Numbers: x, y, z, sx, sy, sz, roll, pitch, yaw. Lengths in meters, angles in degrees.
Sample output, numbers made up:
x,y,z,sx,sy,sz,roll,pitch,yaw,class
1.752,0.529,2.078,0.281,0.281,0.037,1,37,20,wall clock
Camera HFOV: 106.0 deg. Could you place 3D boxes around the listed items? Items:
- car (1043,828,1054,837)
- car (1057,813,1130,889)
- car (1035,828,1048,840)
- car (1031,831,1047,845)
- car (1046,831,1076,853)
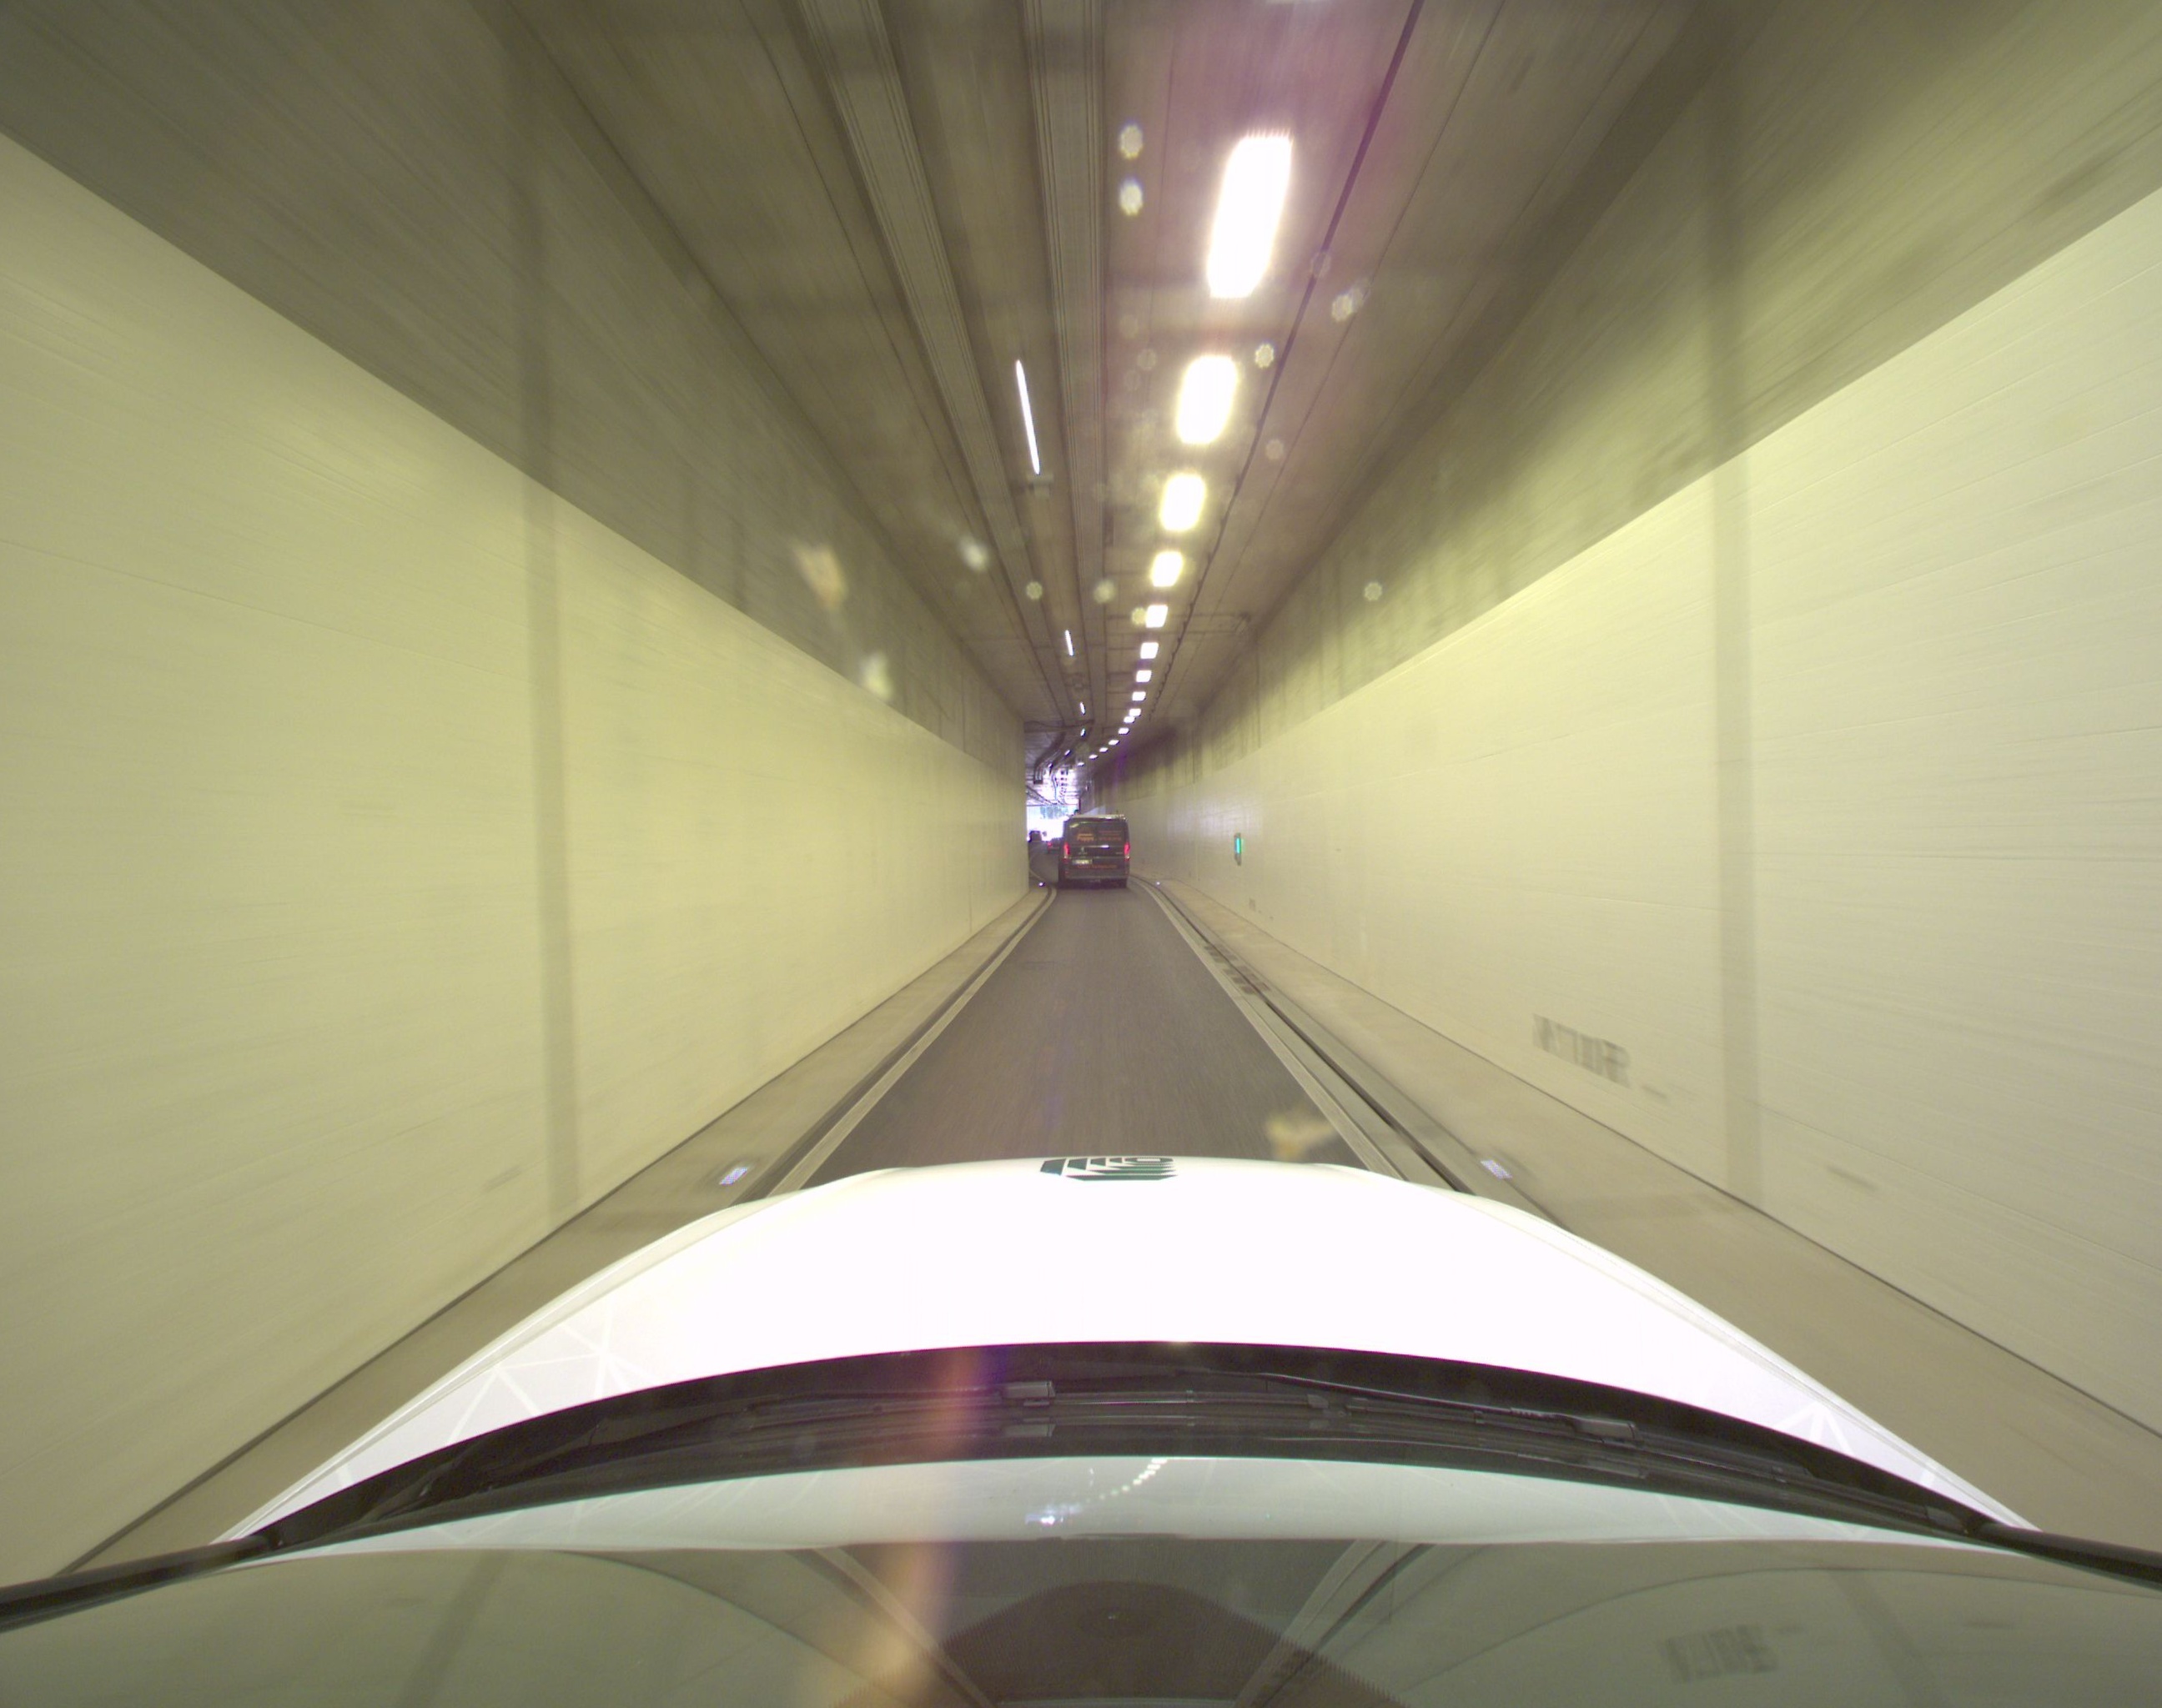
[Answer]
x,y,z,sx,sy,sz,roll,pitch,yaw,class
-5.894,-3.858,146.902,1.872,1.624,4.216,0,1,-3,car
0.311,-0.170,26.604,2.153,2.265,4.633,0,2,-2,car
-5.786,-2.940,118.834,1.872,1.624,4.216,0,1,-3,car
-5.095,-1.932,98.474,1.872,1.624,4.216,0,1,-3,car
-1.410,-0.888,59.855,2.078,1.513,4.637,-1,2,0,car
